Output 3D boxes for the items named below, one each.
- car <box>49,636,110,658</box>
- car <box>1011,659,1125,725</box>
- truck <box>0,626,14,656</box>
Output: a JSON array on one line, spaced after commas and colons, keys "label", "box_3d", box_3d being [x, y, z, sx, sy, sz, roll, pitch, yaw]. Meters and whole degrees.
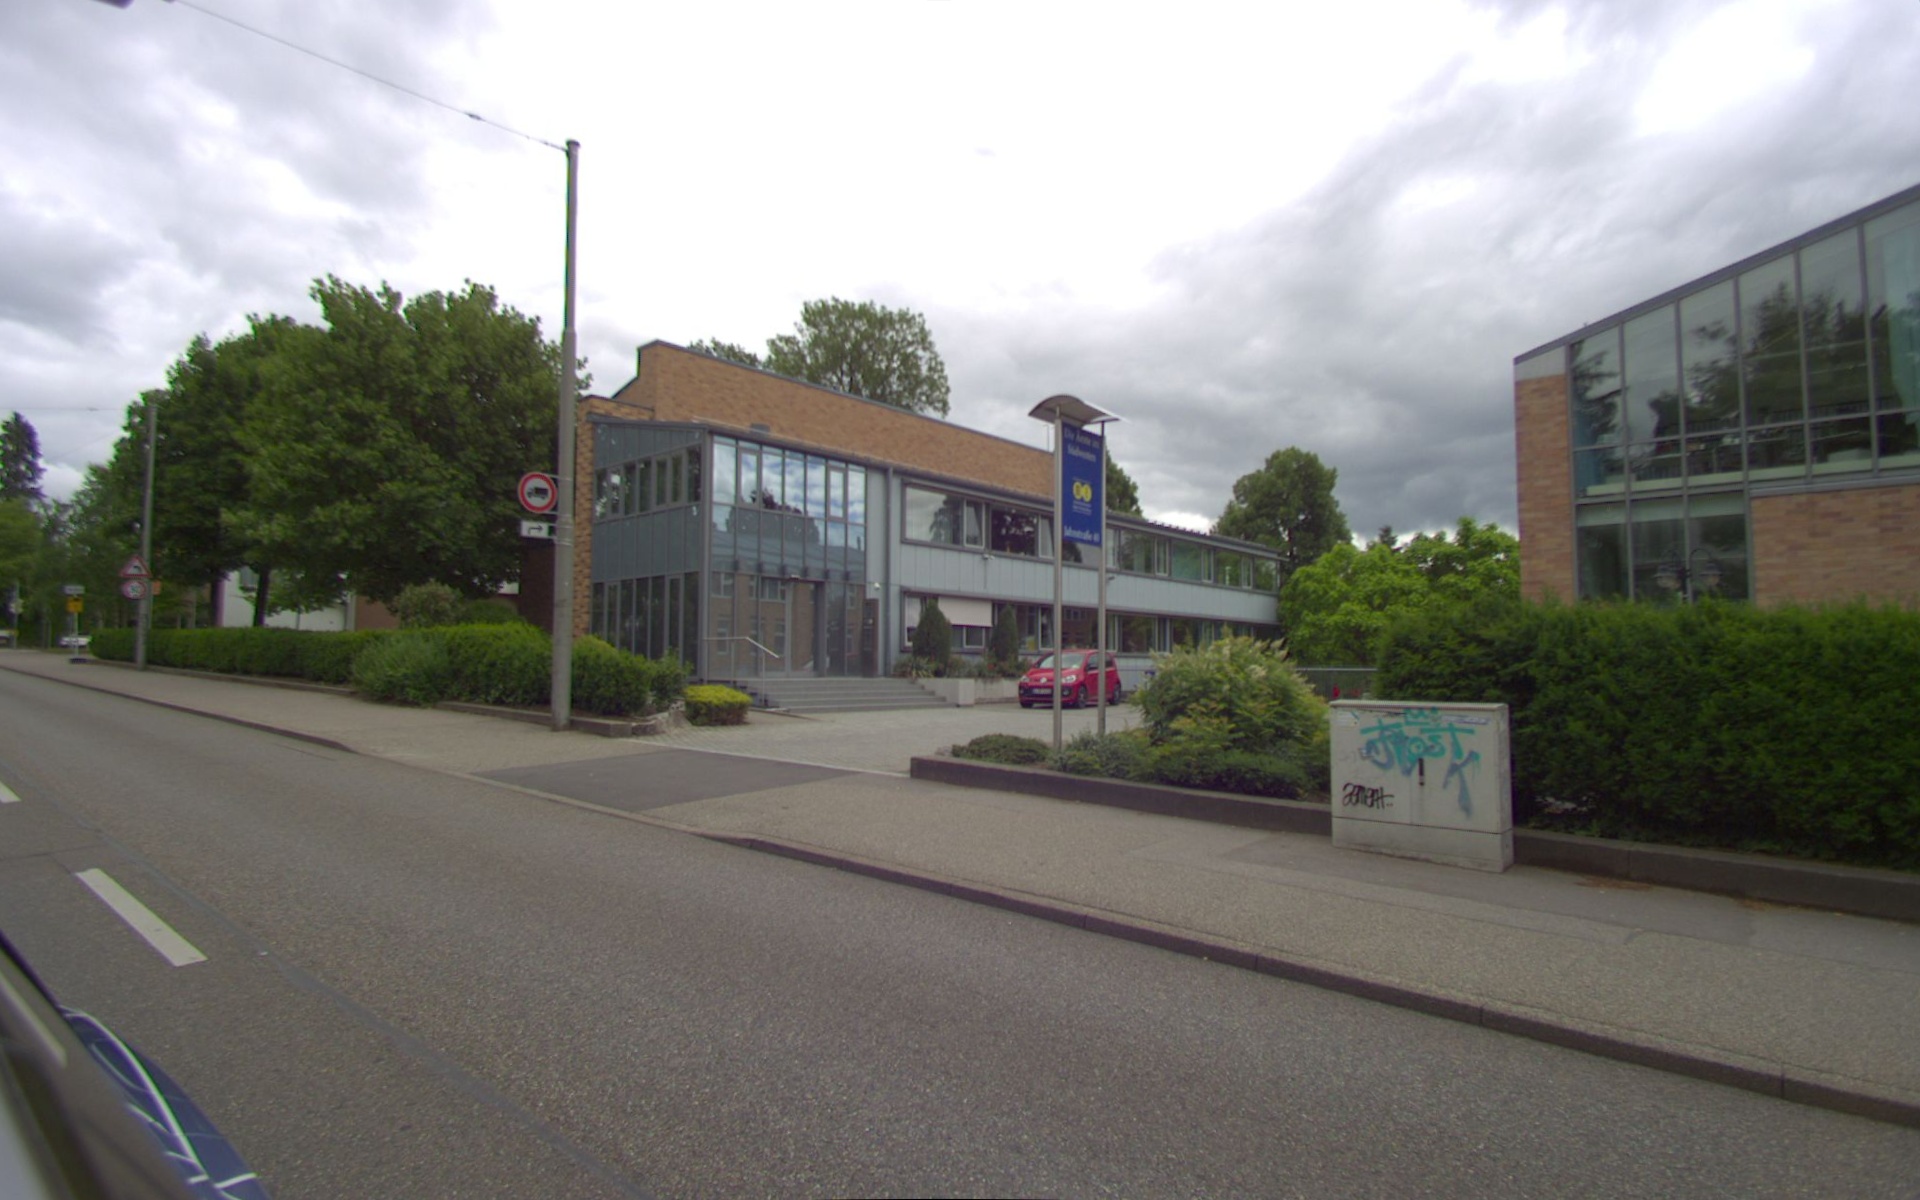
[{"label": "car", "box_3d": [-71.926, 3.870, 82.752, 1.967, 1.625, 4.009, 3, -4, -11]}, {"label": "car", "box_3d": [2.797, 2.268, 25.651, 1.650, 1.503, 3.422, -2, -4, 30]}, {"label": "truck", "box_3d": [-75.076, 2.877, 75.227, 6.610, 2.205, 2.534, 6, -5, -39]}]
